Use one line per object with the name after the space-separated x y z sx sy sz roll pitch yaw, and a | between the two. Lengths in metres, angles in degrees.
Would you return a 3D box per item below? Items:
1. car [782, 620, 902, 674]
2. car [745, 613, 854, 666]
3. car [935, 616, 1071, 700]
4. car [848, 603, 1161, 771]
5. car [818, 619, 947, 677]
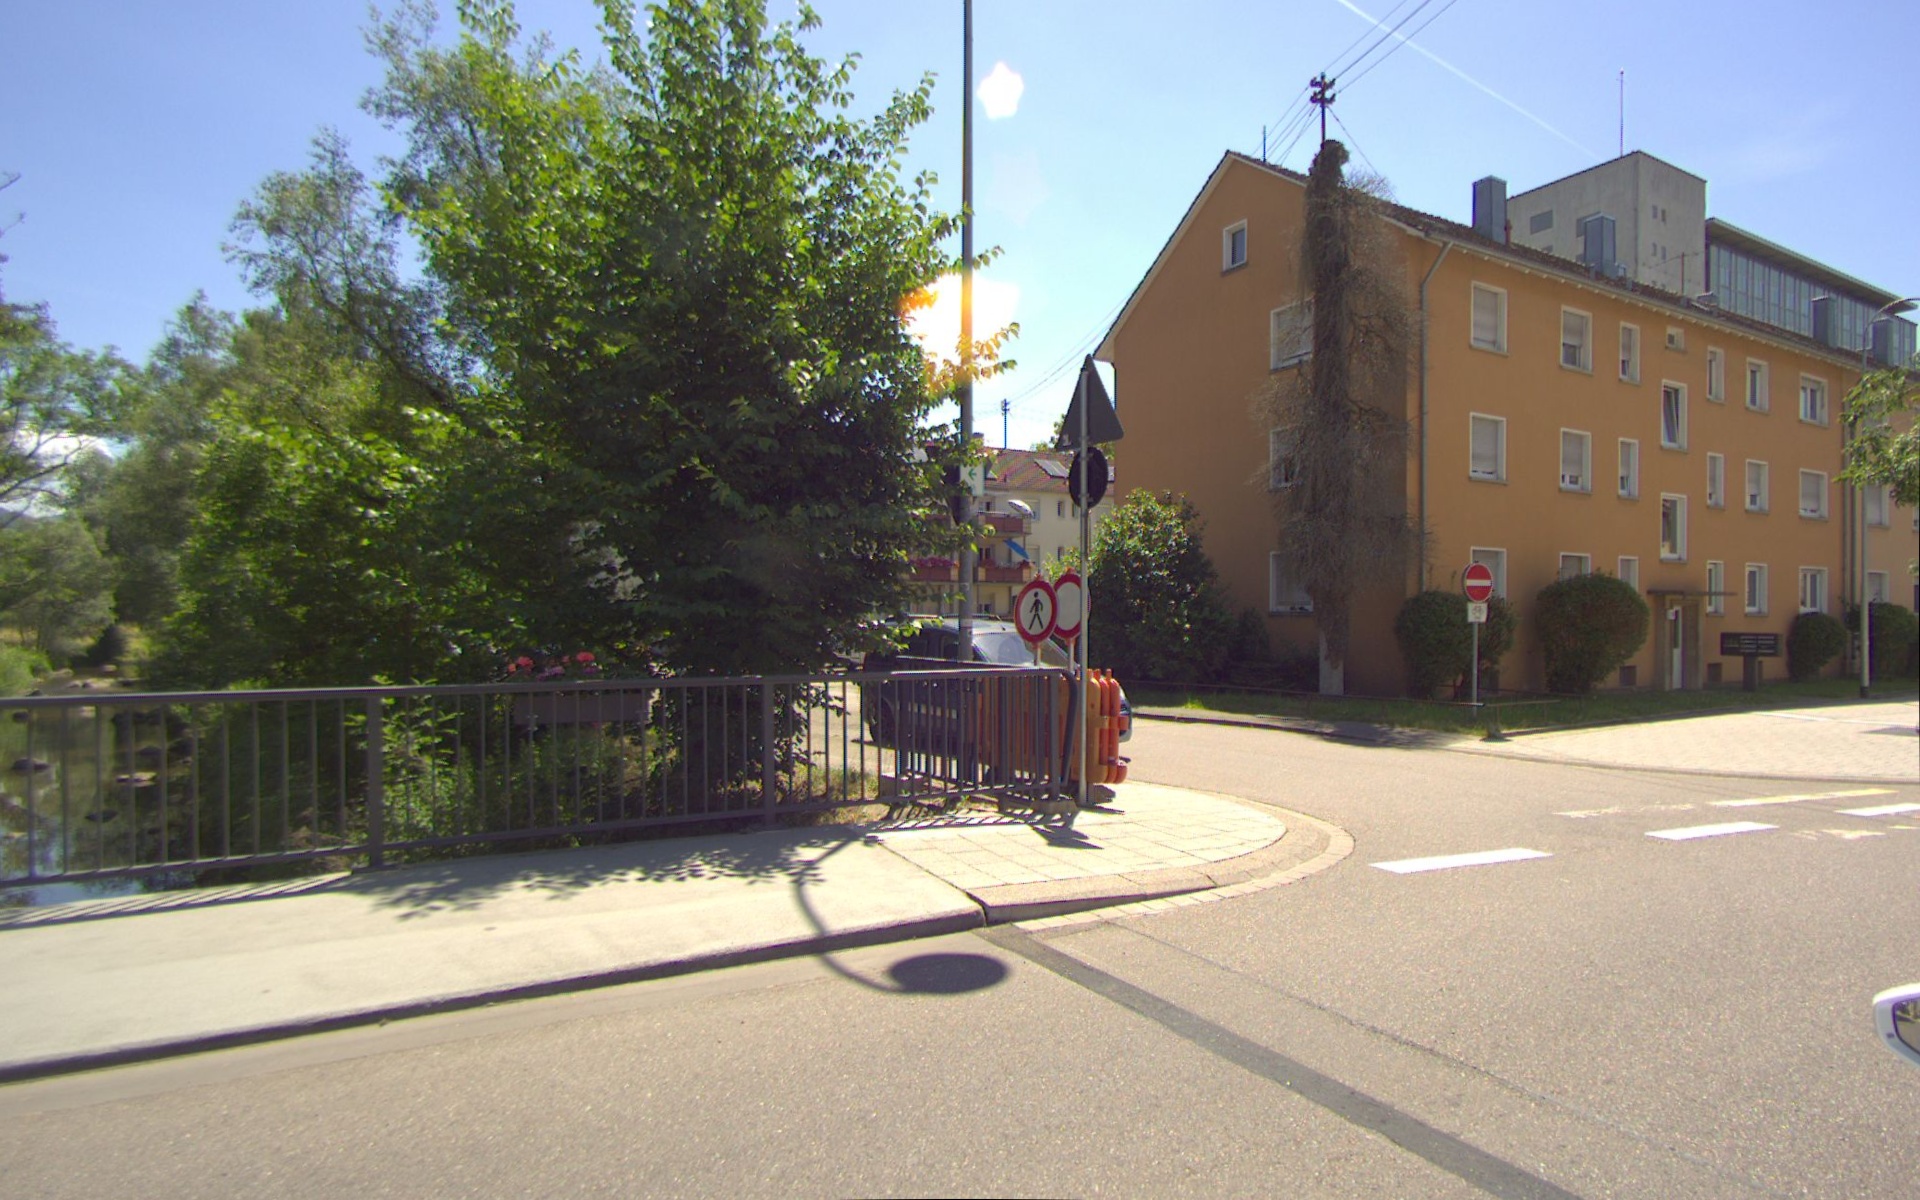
-4.334 1.688 37.093 3.958 1.840 1.981 0 0 -34 | car
-6.585 1.597 41.199 3.954 2.040 1.983 1 -1 -31 | car
1.043 1.477 26.580 1.973 2.040 3.975 0 -2 -25 | car
0.437 1.033 13.712 1.804 1.899 4.388 -1 -1 -39 | car
-2.644 1.589 34.367 3.958 1.840 1.981 0 0 -34 | car
